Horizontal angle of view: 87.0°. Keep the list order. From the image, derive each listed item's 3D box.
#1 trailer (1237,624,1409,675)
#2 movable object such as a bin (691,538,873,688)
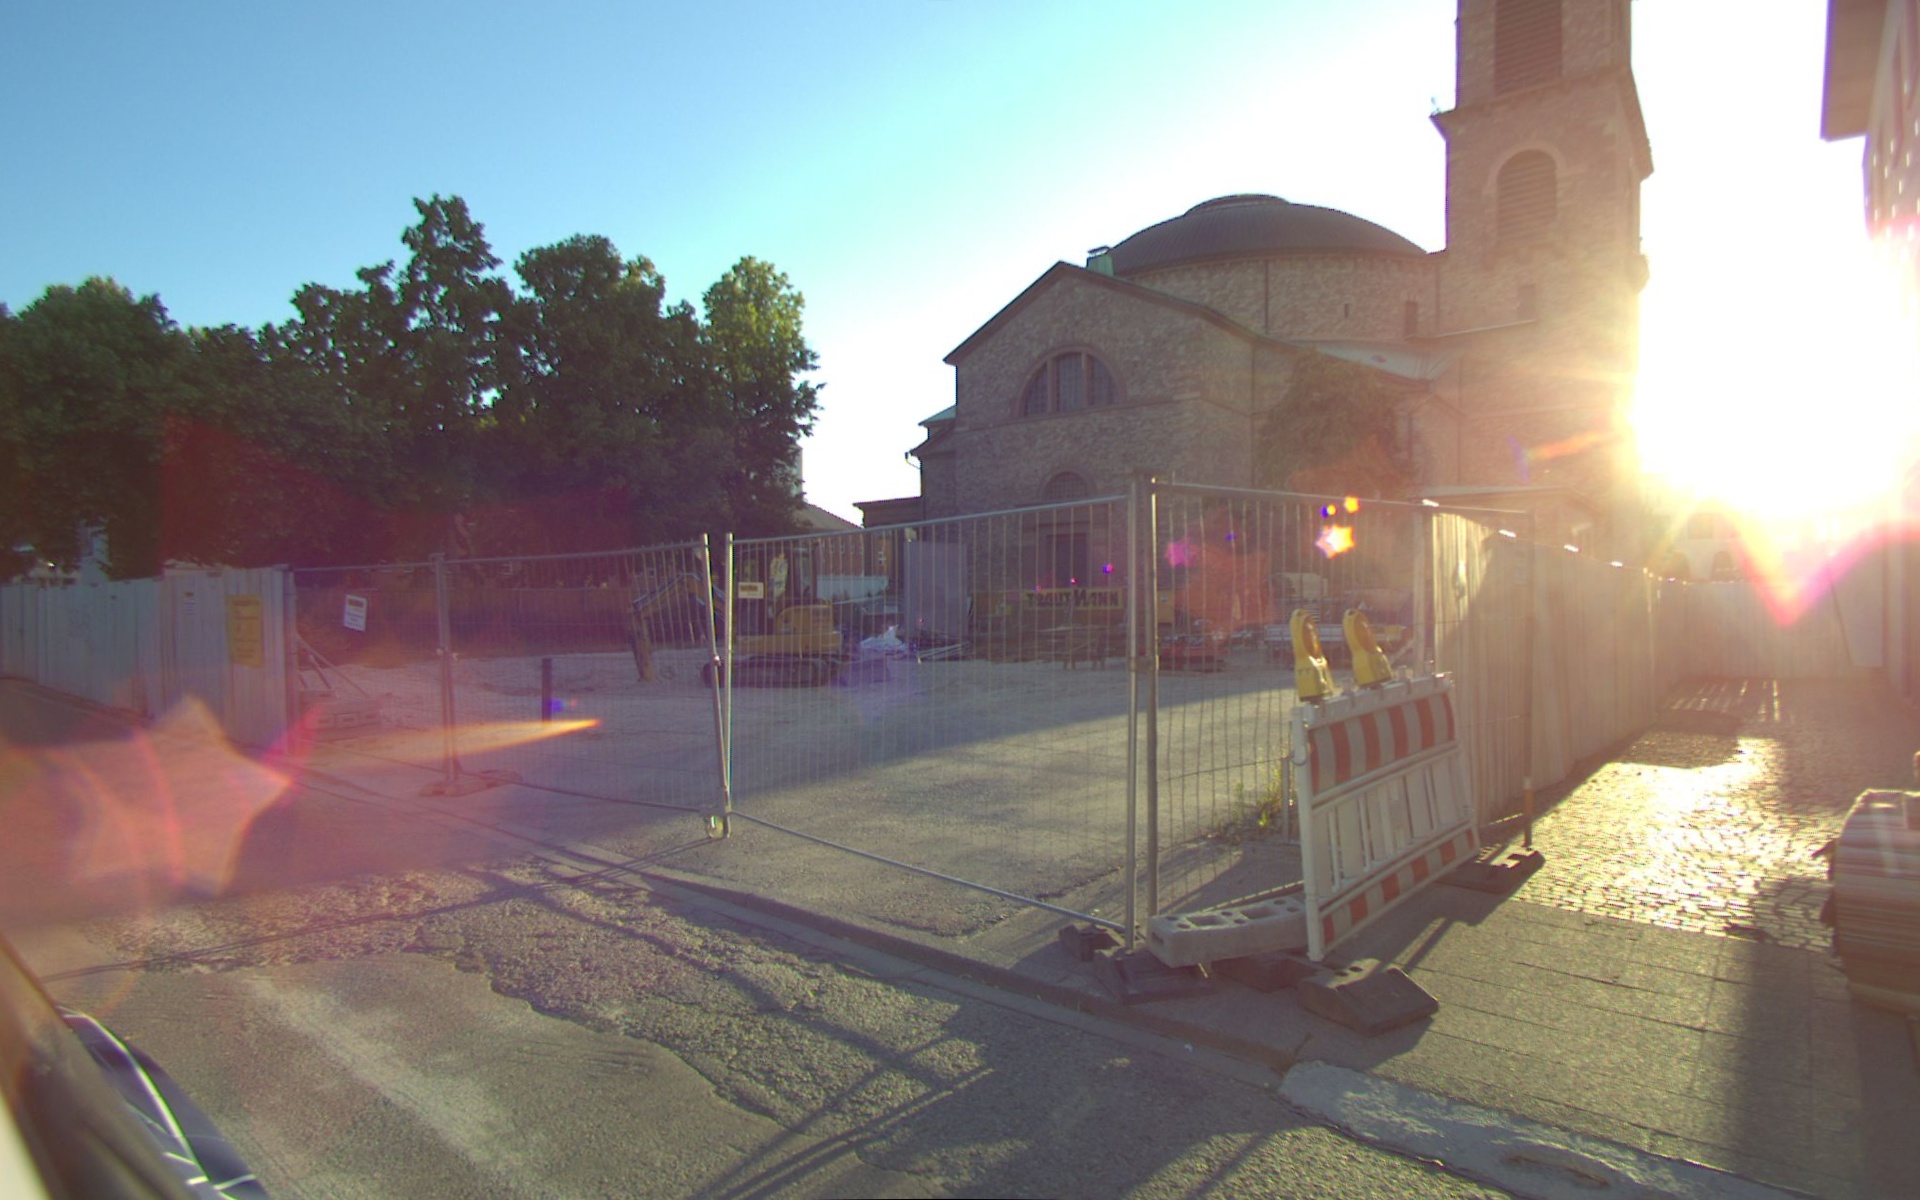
[{"bbox_3d":[8.232,1.061,22.752,4.303,0.998,2.001,1,-1,-45],"label":"trailer"},{"bbox_3d":[-3.316,0.241,19.138,2.725,2.623,2.147,0,-1,18],"label":"movable object such as a bin"}]
